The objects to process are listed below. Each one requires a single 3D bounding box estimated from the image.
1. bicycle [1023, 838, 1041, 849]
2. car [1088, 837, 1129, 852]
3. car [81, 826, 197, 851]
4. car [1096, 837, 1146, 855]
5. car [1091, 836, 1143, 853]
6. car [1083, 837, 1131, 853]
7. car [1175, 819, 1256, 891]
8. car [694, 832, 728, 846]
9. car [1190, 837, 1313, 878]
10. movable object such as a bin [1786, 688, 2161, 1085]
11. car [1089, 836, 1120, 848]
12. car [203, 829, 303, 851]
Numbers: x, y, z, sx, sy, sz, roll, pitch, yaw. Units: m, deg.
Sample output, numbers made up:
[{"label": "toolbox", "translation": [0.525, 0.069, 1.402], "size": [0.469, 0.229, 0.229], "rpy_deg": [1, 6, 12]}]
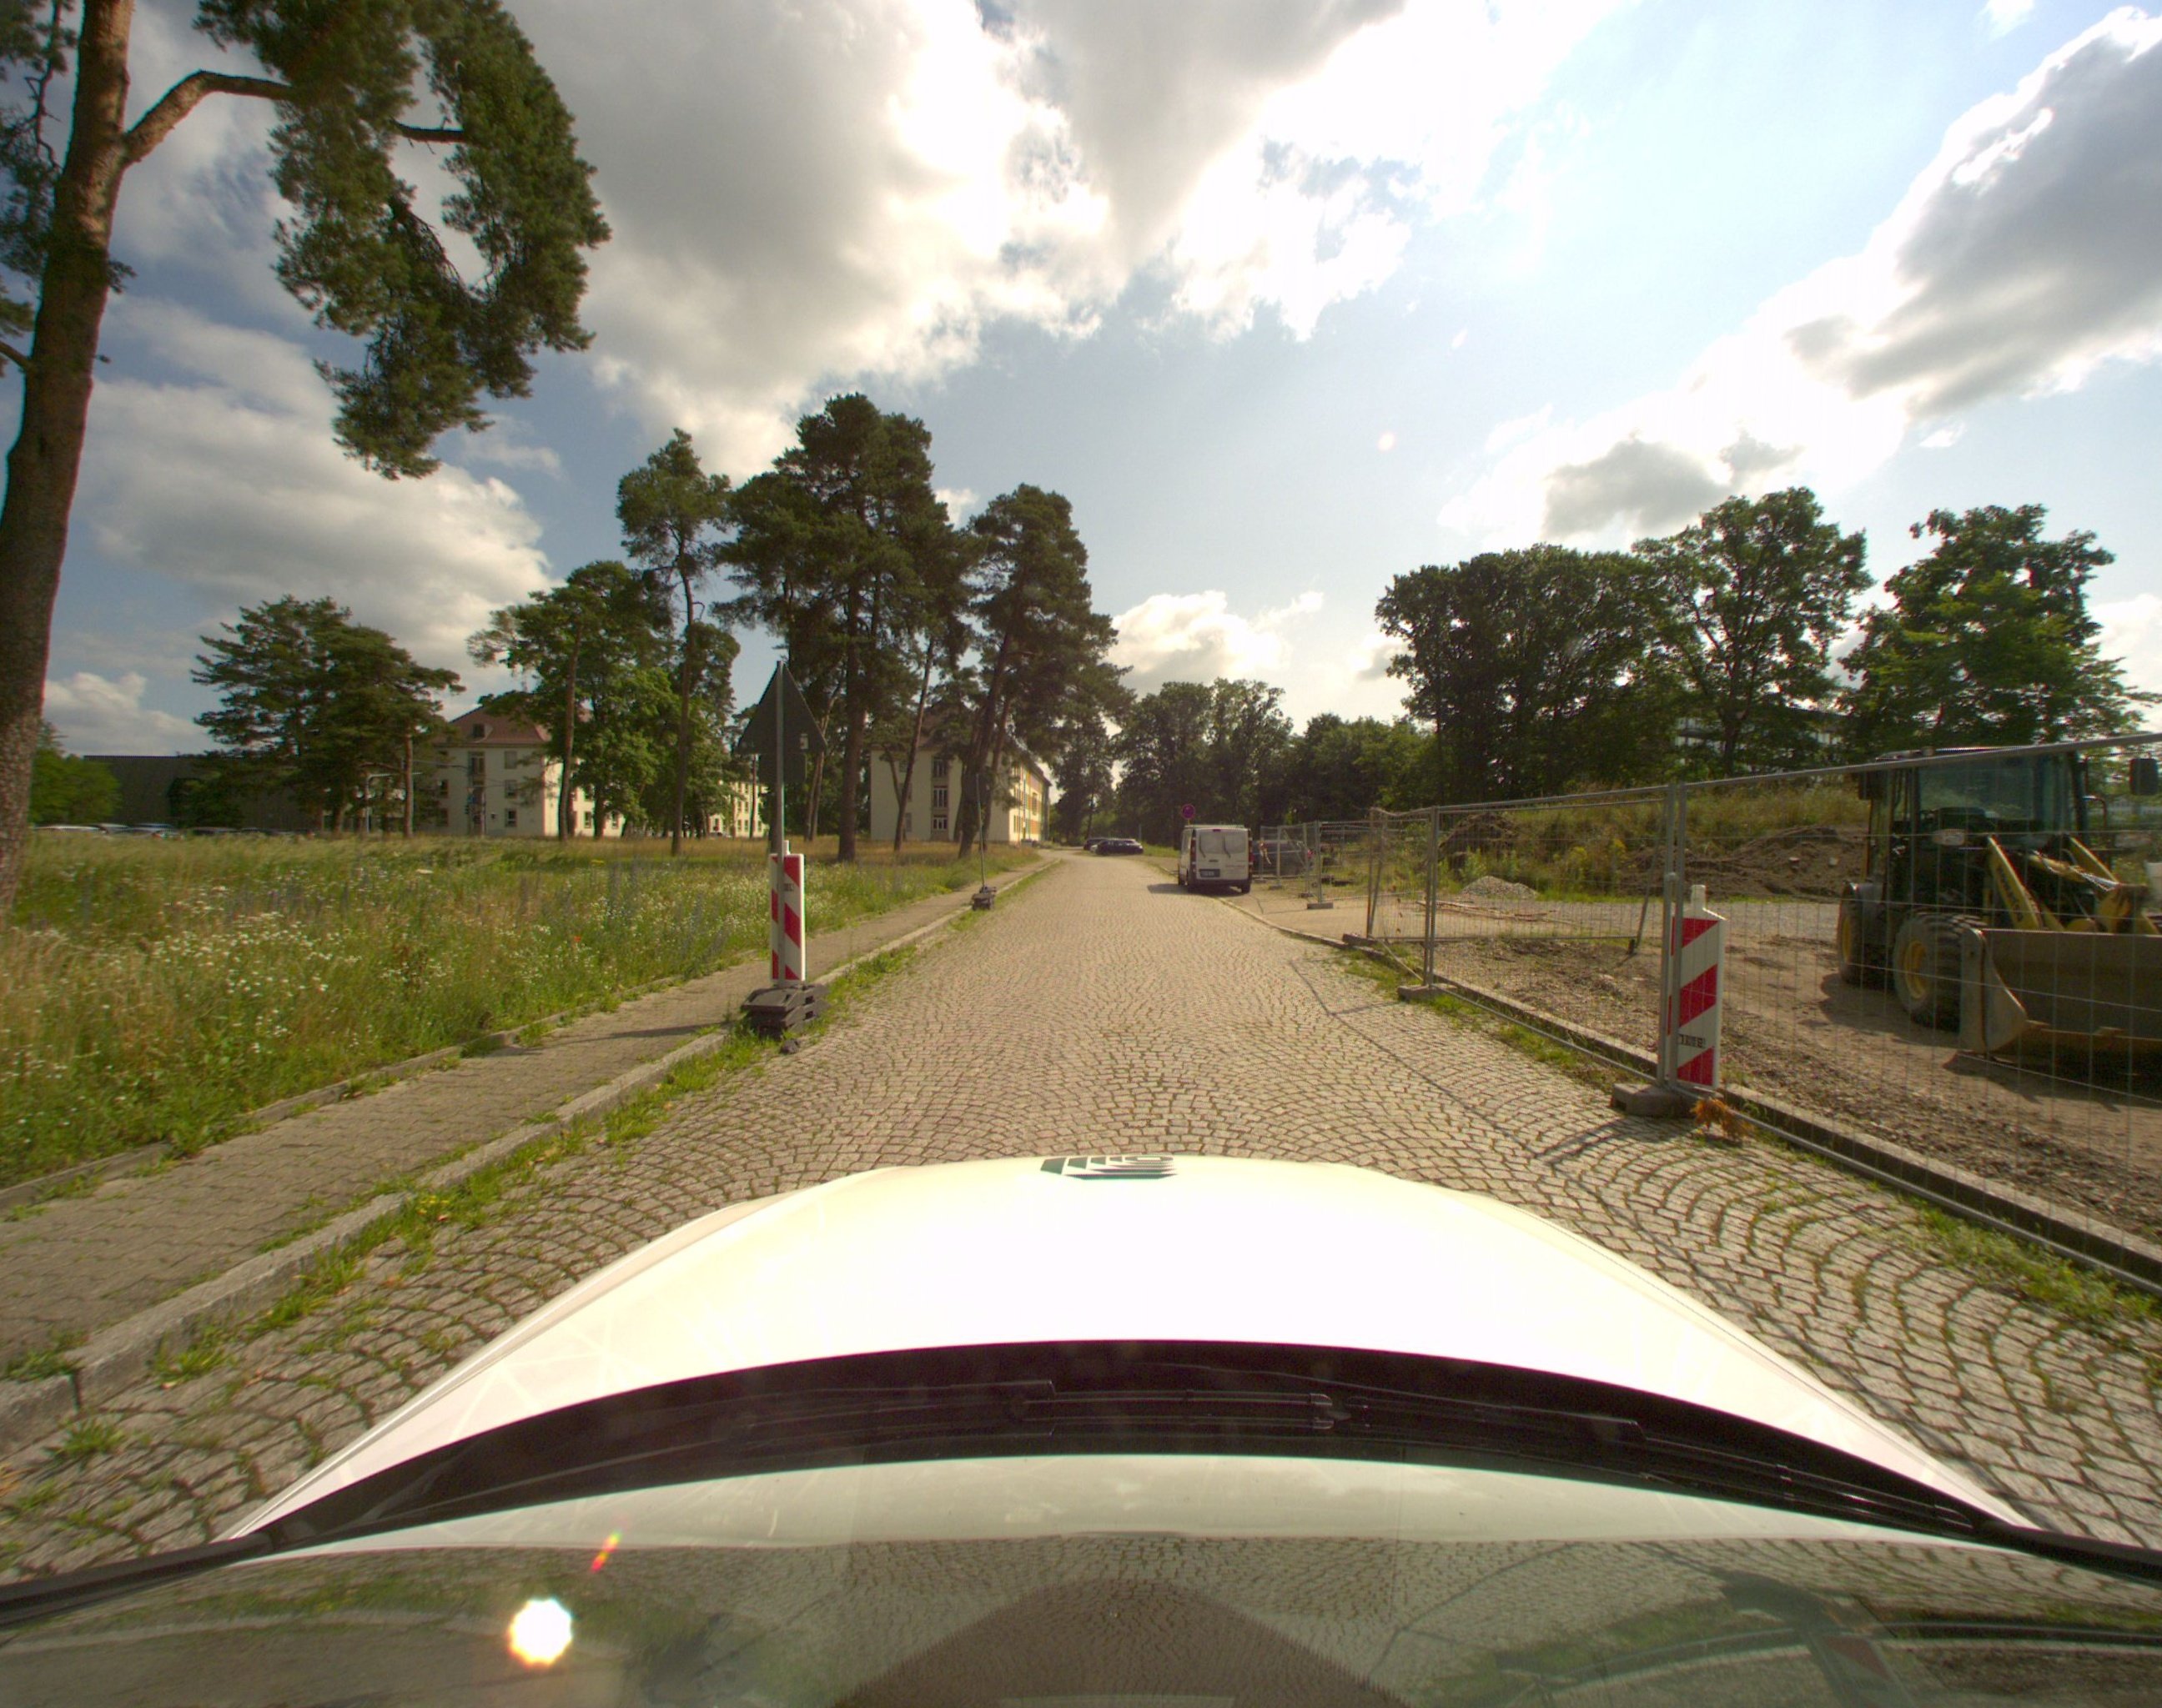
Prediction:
[{"label": "bicycle", "translation": [-6.083, -1.316, 101.226], "size": [2.212, 1.260, 0.623], "rpy_deg": [0, 1, 3]}, {"label": "car", "translation": [3.010, -1.053, 89.297], "size": [4.385, 1.484, 1.765], "rpy_deg": [-1, 0, -1]}, {"label": "car", "translation": [-51.177, -0.846, 44.297], "size": [4.053, 1.338, 1.901], "rpy_deg": [0, 1, 0]}, {"label": "car", "translation": [3.576, -0.769, 73.470], "size": [4.320, 1.500, 1.826], "rpy_deg": [-1, 2, -7]}, {"label": "car", "translation": [3.356, -0.867, 76.623], "size": [4.847, 1.472, 1.874], "rpy_deg": [-1, 2, -1]}, {"label": "car", "translation": [2.673, -0.958, 83.986], "size": [4.837, 1.552, 1.879], "rpy_deg": [-1, 0, -1]}, {"label": "car", "translation": [4.188, -0.021, 26.154], "size": [1.906, 2.053, 5.683], "rpy_deg": [0, 1, 2]}, {"label": "car", "translation": [-53.591, -2.207, 118.030], "size": [4.043, 1.991, 1.714], "rpy_deg": [0, 1, 2]}, {"label": "car", "translation": [6.684, 0.113, 32.187], "size": [4.443, 1.475, 1.744], "rpy_deg": [-1, 1, -3]}, {"label": "movable object such as a bin", "translation": [8.584, 0.129, 7.461], "size": [2.122, 2.521, 5.692], "rpy_deg": [0, 2, 30]}, {"label": "car", "translation": [3.262, -1.636, 112.115], "size": [4.170, 1.543, 1.821], "rpy_deg": [-1, 0, 3]}, {"label": "car", "translation": [-50.274, -0.873, 49.491], "size": [4.053, 1.309, 1.901], "rpy_deg": [0, 1, 0]}]
